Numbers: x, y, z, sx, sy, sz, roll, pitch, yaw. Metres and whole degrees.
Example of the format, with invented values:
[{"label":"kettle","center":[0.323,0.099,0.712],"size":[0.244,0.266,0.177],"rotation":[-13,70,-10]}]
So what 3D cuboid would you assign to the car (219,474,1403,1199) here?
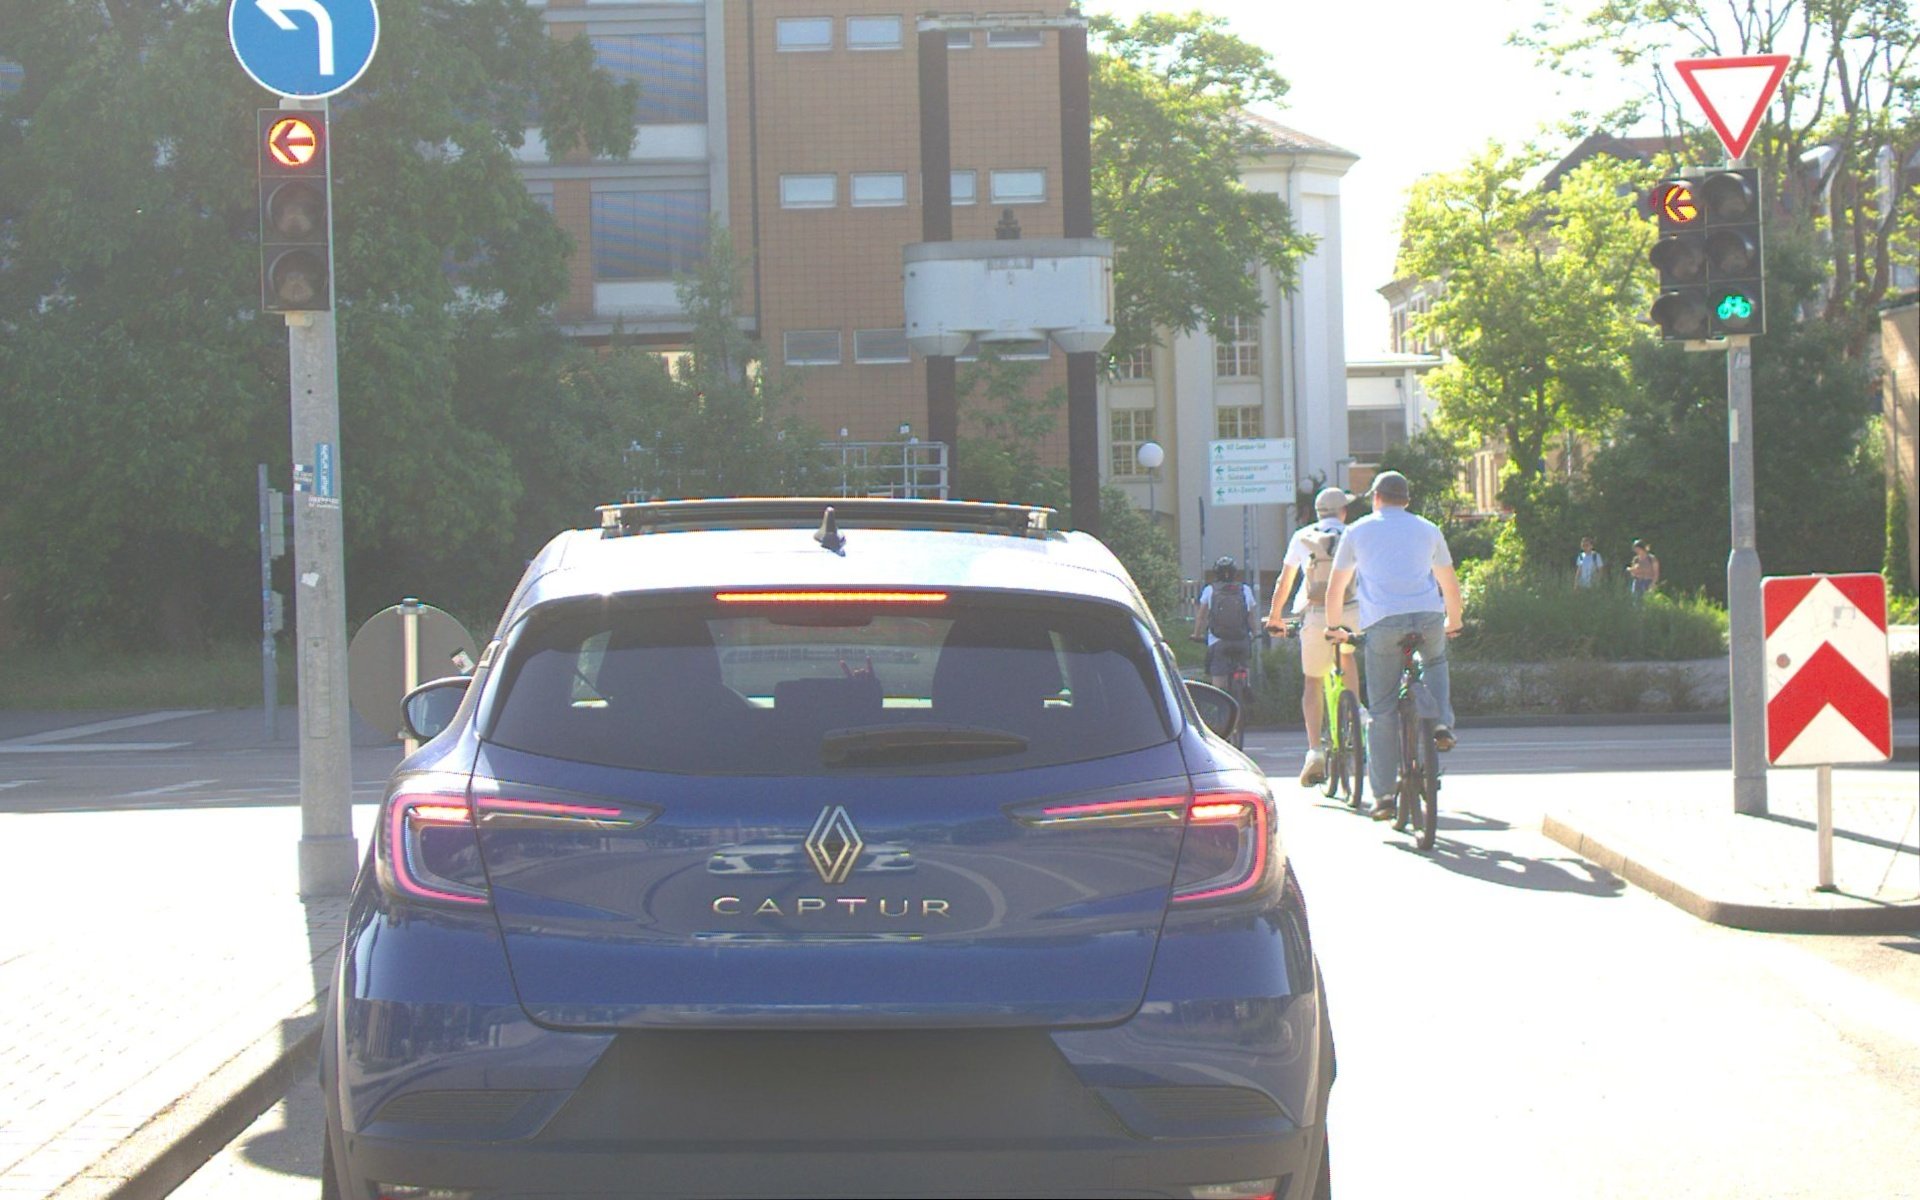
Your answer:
[{"label":"car","center":[-0.264,0.596,7.406],"size":[1.876,1.612,3.798],"rotation":[1,1,-1]}]

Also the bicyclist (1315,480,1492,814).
[{"label":"bicyclist","center":[2.208,0.222,17.225],"size":[0.719,1.611,0.978],"rotation":[-1,1,-1]}]

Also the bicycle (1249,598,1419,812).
[{"label":"bicycle","center":[2.168,0.585,20.125],"size":[0.746,1.161,1.870],"rotation":[-1,1,-1]}]

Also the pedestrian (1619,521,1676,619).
[{"label":"pedestrian","center":[11.539,-0.505,57.712],"size":[0.677,1.637,0.734],"rotation":[1,0,37]}]

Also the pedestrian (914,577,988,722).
[{"label":"pedestrian","center":[-0.107,0.623,43.699],"size":[0.734,1.810,0.731],"rotation":[1,0,17]}]

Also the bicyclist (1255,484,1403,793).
[{"label":"bicyclist","center":[2.157,0.217,20.193],"size":[0.719,1.756,0.978],"rotation":[-1,1,-1]}]

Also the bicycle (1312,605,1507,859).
[{"label":"bicycle","center":[2.220,0.625,17.181],"size":[0.716,1.161,1.870],"rotation":[-1,1,0]}]

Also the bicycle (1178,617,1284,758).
[{"label":"bicycle","center":[2.379,0.753,30.366],"size":[0.746,1.161,1.870],"rotation":[-1,1,-1]}]

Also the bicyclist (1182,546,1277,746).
[{"label":"bicyclist","center":[2.375,0.392,30.385],"size":[0.719,1.729,0.978],"rotation":[-1,1,-1]}]

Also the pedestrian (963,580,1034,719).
[{"label":"pedestrian","center":[0.502,0.639,44.771],"size":[0.734,1.776,0.731],"rotation":[1,0,17]}]

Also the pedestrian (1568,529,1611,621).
[{"label":"pedestrian","center":[11.239,-0.446,61.375],"size":[0.676,1.637,0.735],"rotation":[1,0,14]}]
